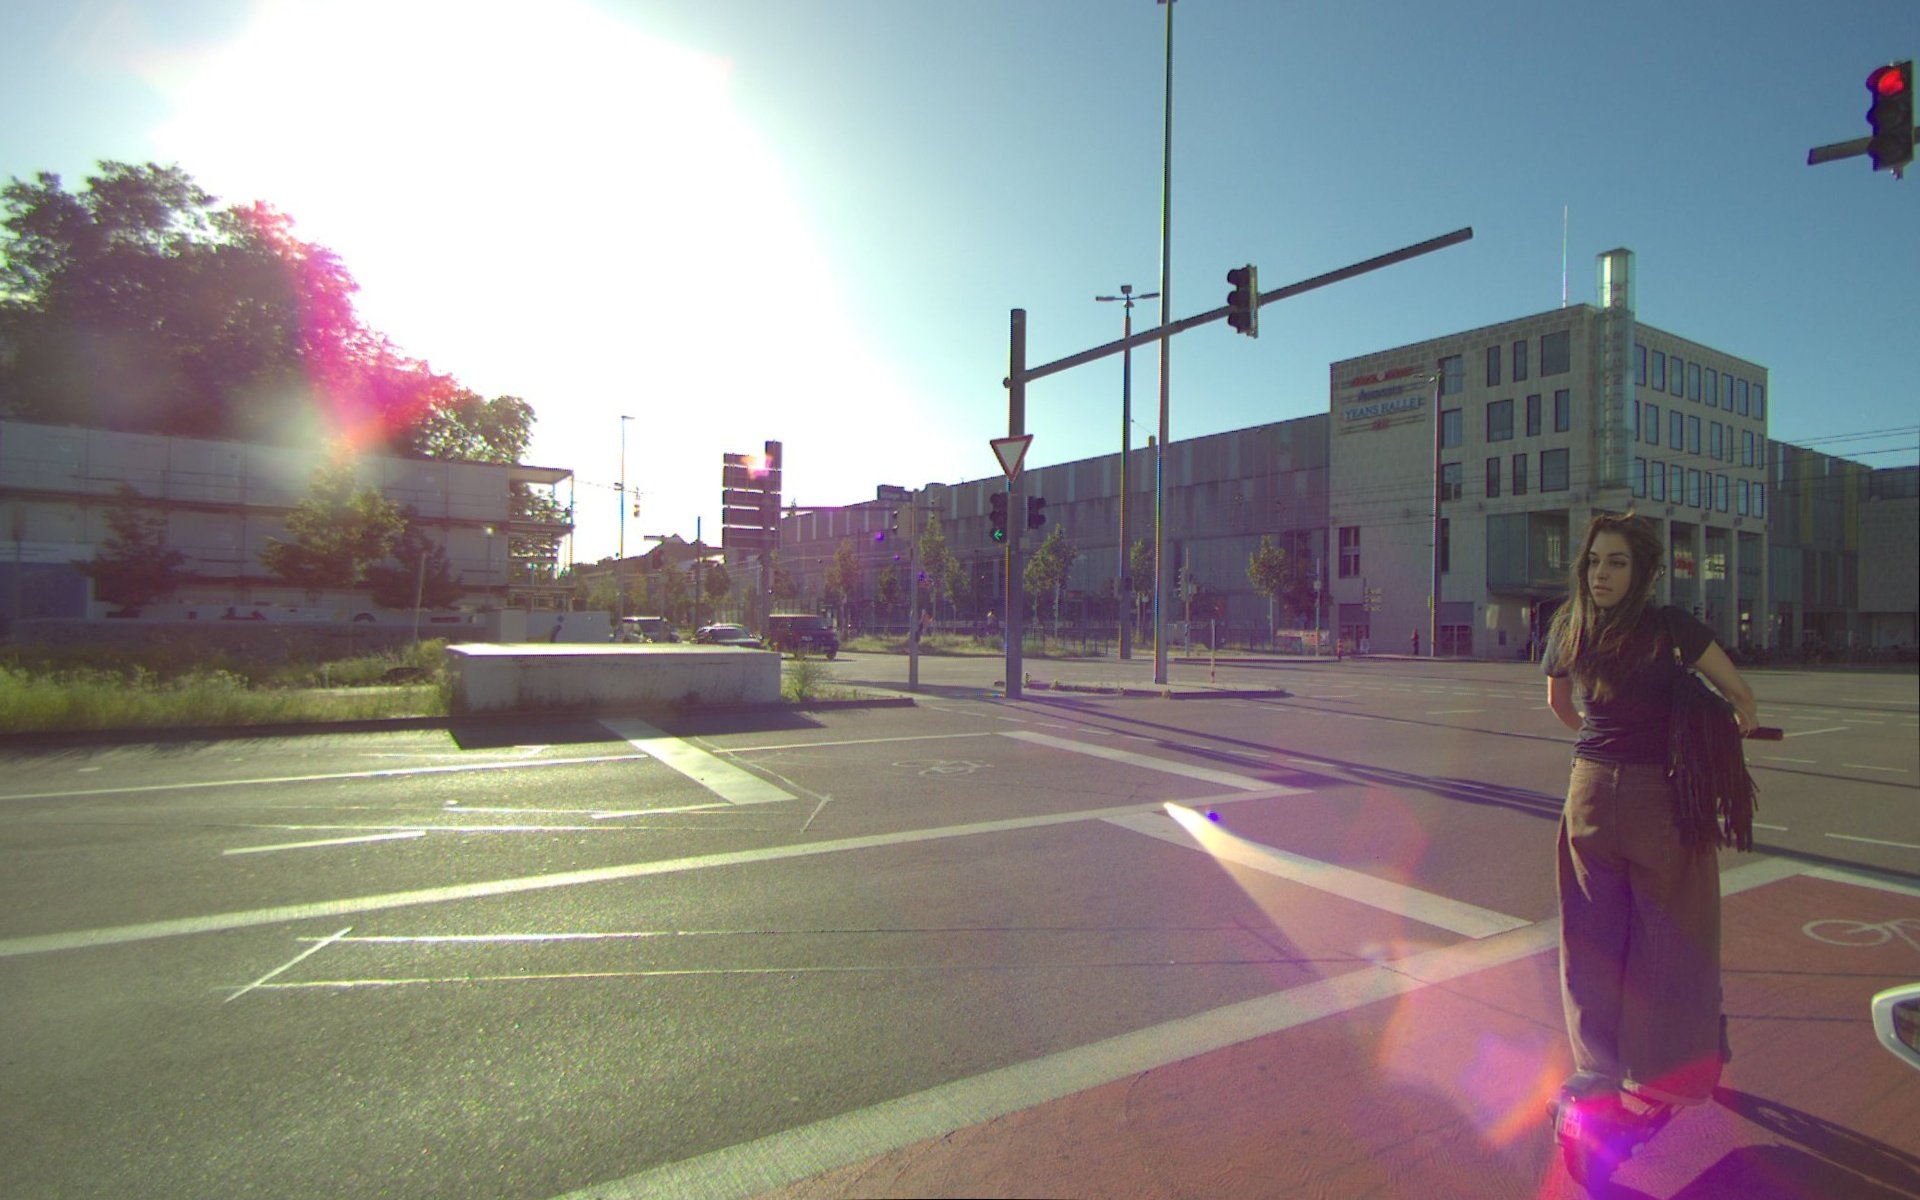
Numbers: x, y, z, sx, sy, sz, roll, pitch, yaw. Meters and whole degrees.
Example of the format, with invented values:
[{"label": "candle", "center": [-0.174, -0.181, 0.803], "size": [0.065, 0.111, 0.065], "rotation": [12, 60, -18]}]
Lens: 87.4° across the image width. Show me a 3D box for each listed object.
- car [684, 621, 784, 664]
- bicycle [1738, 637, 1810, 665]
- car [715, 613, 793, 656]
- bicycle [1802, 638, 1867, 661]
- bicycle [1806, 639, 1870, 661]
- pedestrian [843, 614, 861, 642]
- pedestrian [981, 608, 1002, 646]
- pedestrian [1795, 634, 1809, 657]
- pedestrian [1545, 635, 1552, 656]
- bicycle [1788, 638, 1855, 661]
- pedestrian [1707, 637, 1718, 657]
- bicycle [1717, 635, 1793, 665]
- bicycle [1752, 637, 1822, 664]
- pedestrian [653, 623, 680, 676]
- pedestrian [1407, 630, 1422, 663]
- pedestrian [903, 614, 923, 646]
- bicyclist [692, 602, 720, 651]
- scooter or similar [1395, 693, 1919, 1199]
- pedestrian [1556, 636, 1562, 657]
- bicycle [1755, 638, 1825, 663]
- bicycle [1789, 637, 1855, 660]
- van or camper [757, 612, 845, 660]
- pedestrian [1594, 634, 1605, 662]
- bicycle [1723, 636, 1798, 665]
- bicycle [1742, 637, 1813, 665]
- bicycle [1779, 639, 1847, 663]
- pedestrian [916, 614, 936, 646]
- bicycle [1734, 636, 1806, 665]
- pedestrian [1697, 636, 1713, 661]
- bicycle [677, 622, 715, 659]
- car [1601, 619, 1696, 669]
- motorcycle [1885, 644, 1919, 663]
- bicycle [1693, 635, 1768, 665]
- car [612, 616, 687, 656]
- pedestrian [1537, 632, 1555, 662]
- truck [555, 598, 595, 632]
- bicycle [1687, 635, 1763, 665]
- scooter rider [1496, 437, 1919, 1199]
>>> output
[{"label": "car", "center": [-9.400, 1.704, 41.516], "size": [2.313, 1.671, 4.821], "rotation": [1, -2, -37]}, {"label": "bicycle", "center": [51.944, 3.225, 64.158], "size": [0.979, 1.719, 3.462], "rotation": [1, -2, -40]}, {"label": "car", "center": [-10.392, 1.695, 50.422], "size": [1.981, 2.040, 4.821], "rotation": [1, -2, -36]}, {"label": "bicycle", "center": [63.705, 3.588, 73.202], "size": [0.979, 1.547, 3.462], "rotation": [2, -2, -40]}, {"label": "bicycle", "center": [64.505, 3.644, 73.851], "size": [0.979, 1.547, 3.462], "rotation": [2, -2, -40]}, {"label": "pedestrian", "center": [-7.048, 1.827, 65.708], "size": [0.889, 1.855, 0.787], "rotation": [1, -1, -35]}, {"label": "pedestrian", "center": [1.582, 1.366, 50.595], "size": [0.788, 1.855, 0.706], "rotation": [1, -1, -37]}, {"label": "pedestrian", "center": [62.701, 3.381, 74.824], "size": [0.689, 1.664, 0.648], "rotation": [1, -1, -38]}, {"label": "pedestrian", "center": [40.366, 3.116, 68.881], "size": [0.381, 1.445, 0.502], "rotation": [0, -1, 31]}, {"label": "bicycle", "center": [60.381, 3.432, 70.470], "size": [0.979, 1.547, 3.462], "rotation": [2, -2, -40]}, {"label": "pedestrian", "center": [55.532, 3.479, 74.151], "size": [0.630, 1.454, 0.474], "rotation": [0, -1, 38]}, {"label": "bicycle", "center": [48.213, 3.011, 60.939], "size": [1.107, 1.719, 3.465], "rotation": [1, -2, -38]}, {"label": "bicycle", "center": [54.504, 3.319, 66.252], "size": [0.979, 1.719, 3.462], "rotation": [1, -2, -40]}, {"label": "pedestrian", "center": [-9.462, 1.573, 32.400], "size": [0.619, 1.674, 0.935], "rotation": [1, -1, -30]}, {"label": "pedestrian", "center": [24.132, 2.479, 53.382], "size": [0.542, 1.716, 0.523], "rotation": [1, -1, -32]}, {"label": "pedestrian", "center": [-2.743, 1.747, 59.090], "size": [0.889, 1.855, 0.787], "rotation": [1, -1, -35]}, {"label": "bicyclist", "center": [-14.116, 1.490, 55.758], "size": [1.007, 2.677, 1.610], "rotation": [1, -1, -34]}, {"label": "scooter or similar", "center": [2.061, 0.916, 2.800], "size": [1.645, 1.218, 0.725], "rotation": [1, -1, -30]}, {"label": "pedestrian", "center": [40.899, 3.158, 68.578], "size": [0.381, 1.431, 0.437], "rotation": [0, -1, 32]}, {"label": "bicycle", "center": [55.255, 3.327, 66.921], "size": [0.979, 1.547, 3.462], "rotation": [2, -2, -40]}, {"label": "bicycle", "center": [61.187, 3.449, 71.302], "size": [0.979, 1.547, 3.462], "rotation": [2, -2, -40]}, {"label": "van or camper", "center": [-7.269, 1.592, 45.592], "size": [1.981, 2.040, 4.821], "rotation": [1, -2, -36]}, {"label": "pedestrian", "center": [37.732, 2.818, 59.296], "size": [0.532, 1.664, 0.549], "rotation": [0, -1, 32]}, {"label": "bicycle", "center": [49.142, 3.078, 61.739], "size": [1.107, 1.719, 3.465], "rotation": [1, -2, -38]}, {"label": "bicycle", "center": [52.858, 3.257, 64.962], "size": [0.979, 1.719, 3.462], "rotation": [1, -2, -40]}, {"label": "bicycle", "center": [58.873, 3.477, 69.389], "size": [0.979, 1.547, 3.462], "rotation": [2, -2, -40]}, {"label": "pedestrian", "center": [-2.002, 1.777, 59.481], "size": [0.889, 1.855, 0.787], "rotation": [1, -1, -35]}, {"label": "bicycle", "center": [51.118, 3.188, 63.424], "size": [0.979, 1.719, 3.462], "rotation": [1, -2, -40]}, {"label": "pedestrian", "center": [49.884, 3.222, 67.228], "size": [0.776, 1.664, 0.690], "rotation": [-1, -2, 45]}, {"label": "bicycle", "center": [-14.999, 2.286, 57.019], "size": [1.007, 2.040, 3.472], "rotation": [1, -2, -33]}, {"label": "car", "center": [25.882, 1.597, 37.942], "size": [1.961, 1.629, 4.479], "rotation": [1, 1, 21]}, {"label": "motorcycle", "center": [70.745, 4.015, 75.083], "size": [0.713, 1.335, 2.260], "rotation": [1, -2, -34]}, {"label": "bicycle", "center": [46.617, 3.032, 60.831], "size": [1.107, 1.719, 3.465], "rotation": [1, -2, -38]}, {"label": "car", "center": [-15.021, 1.708, 48.405], "size": [1.981, 1.849, 4.821], "rotation": [1, -2, -36]}, {"label": "pedestrian", "center": [36.263, 2.890, 62.148], "size": [0.729, 1.822, 0.752], "rotation": [1, -1, -34]}, {"label": "truck", "center": [-33.479, 1.327, 87.255], "size": [1.979, 2.875, 6.293], "rotation": [1, -2, -33]}, {"label": "bicycle", "center": [45.698, 2.975, 60.033], "size": [1.107, 1.719, 3.465], "rotation": [1, -2, -38]}, {"label": "scooter rider", "center": [2.079, 0.540, 2.789], "size": [0.801, 1.798, 0.725], "rotation": [1, -1, -30]}]
